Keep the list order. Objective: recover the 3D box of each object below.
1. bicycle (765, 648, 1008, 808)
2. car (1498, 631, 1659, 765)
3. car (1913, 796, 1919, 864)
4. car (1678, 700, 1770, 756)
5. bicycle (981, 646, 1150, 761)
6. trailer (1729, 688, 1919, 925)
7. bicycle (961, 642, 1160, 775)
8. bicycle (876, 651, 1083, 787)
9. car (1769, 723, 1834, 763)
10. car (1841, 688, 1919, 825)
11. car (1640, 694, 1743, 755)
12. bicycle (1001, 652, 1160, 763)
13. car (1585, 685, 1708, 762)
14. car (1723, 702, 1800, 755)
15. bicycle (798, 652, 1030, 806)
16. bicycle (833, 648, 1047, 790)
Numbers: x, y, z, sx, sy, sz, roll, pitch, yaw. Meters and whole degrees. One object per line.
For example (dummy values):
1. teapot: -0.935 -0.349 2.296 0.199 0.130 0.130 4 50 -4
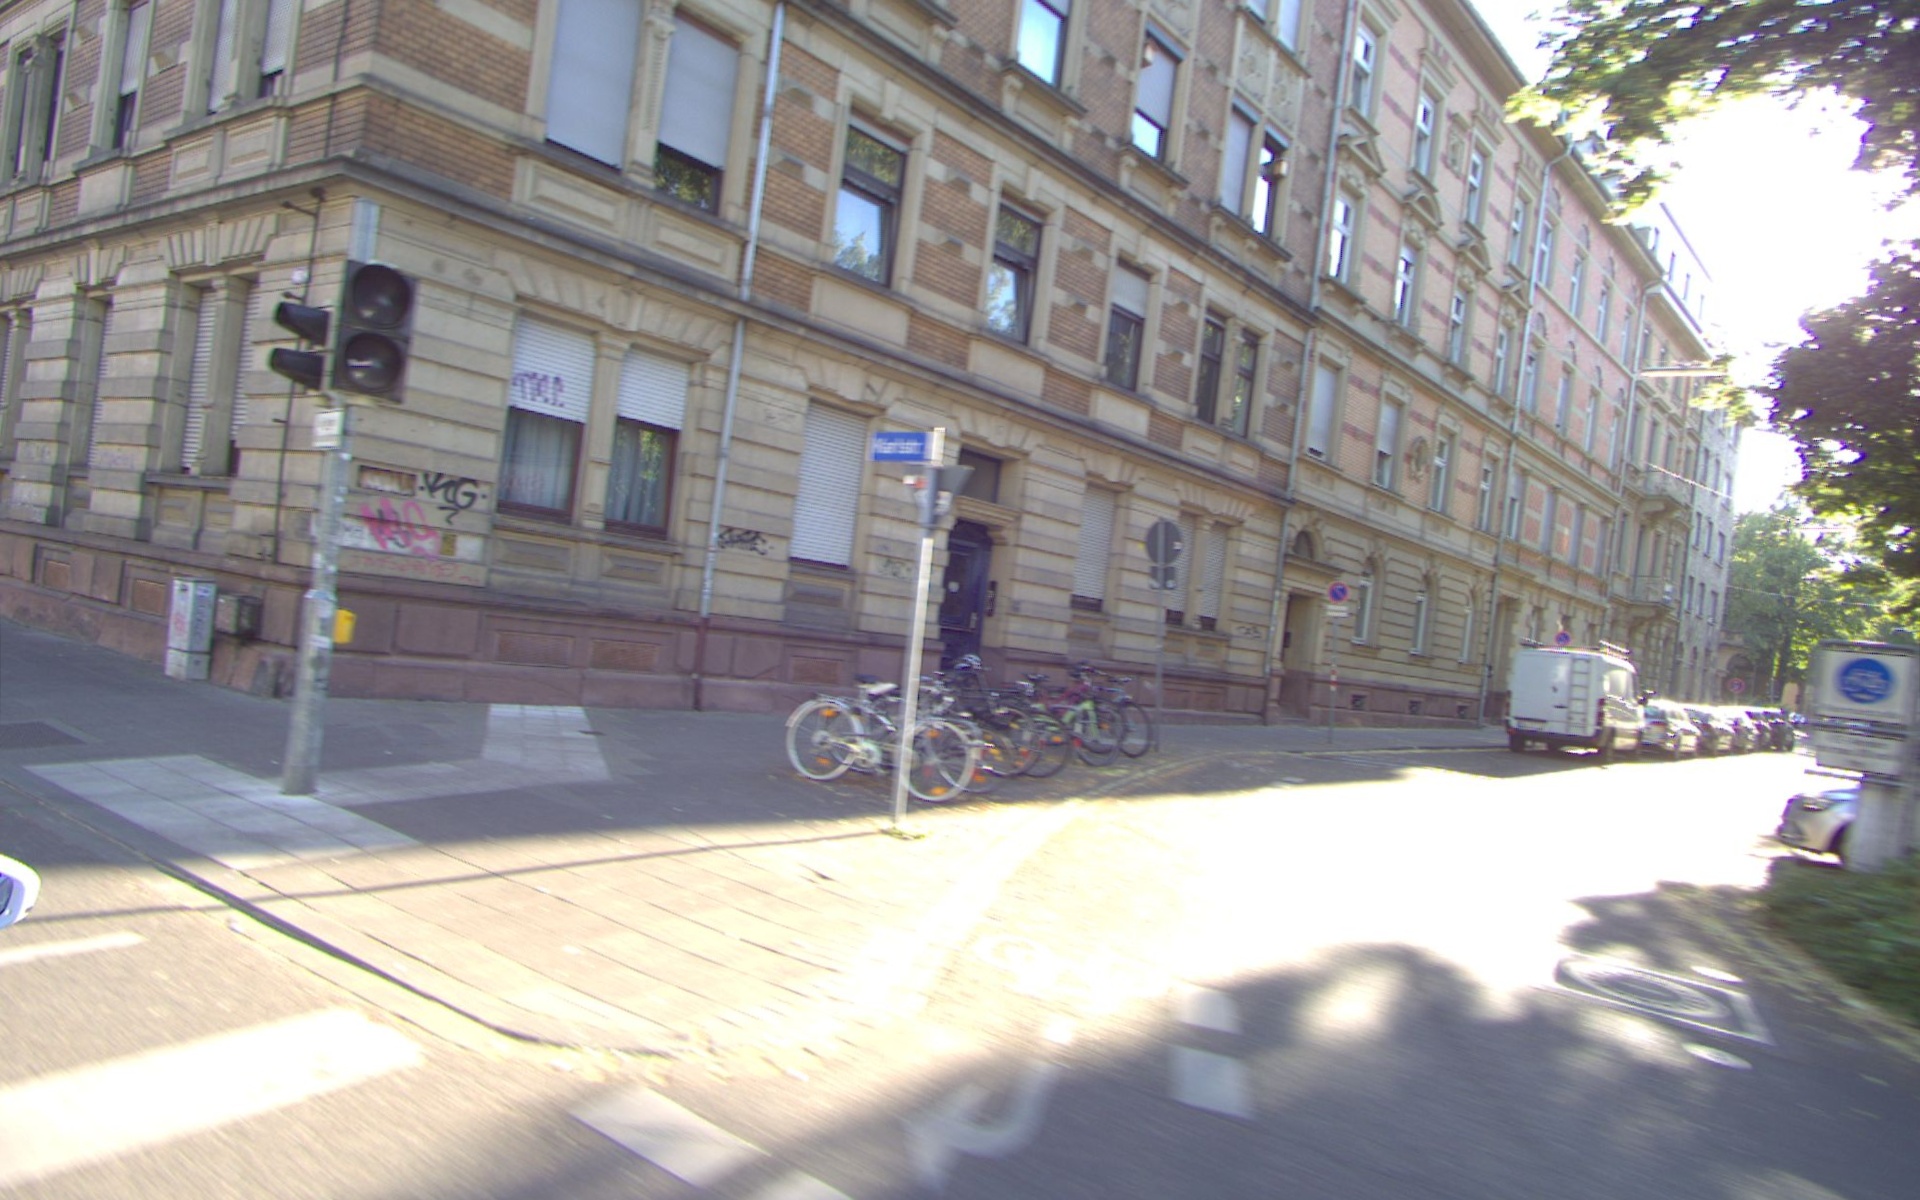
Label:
1. bicycle: -0.614 1.044 8.444 1.871 1.037 0.453 7 -1 13
2. car: 14.358 2.337 23.229 1.948 2.547 4.852 6 -3 45
3. car: 13.261 2.444 11.061 1.963 1.751 3.884 10 -3 -44
4. car: 26.350 4.433 34.660 4.193 1.443 1.803 11 -4 -44
5. bicycle: 1.305 1.259 12.471 1.919 1.137 0.447 7 -1 8
6. trailer: 9.070 1.918 8.364 1.961 1.753 3.883 7 0 -44
7. bicycle: 1.134 1.209 11.476 2.067 1.196 0.616 7 -1 6
8. bicycle: 0.198 1.149 9.932 1.871 1.037 0.498 7 -1 11
9. car: 39.647 6.756 47.372 4.193 1.443 1.803 11 -4 -44
10. car: 17.117 2.757 15.487 1.892 2.074 4.994 9 -3 -40
11. car: 22.730 3.891 31.204 4.193 1.443 1.803 11 -4 -44
12. bicycle: 1.540 1.353 12.871 1.871 1.137 0.405 7 0 11
13. car: 18.497 3.346 27.020 4.193 1.592 1.803 10 -4 -44
14. car: 32.465 5.210 40.702 4.193 1.685 1.803 10 -4 -44
15. bicycle: -0.404 1.101 8.794 1.871 1.037 0.418 7 -1 13
16. bicycle: -0.176 1.106 9.496 1.872 1.052 0.464 7 -1 4
